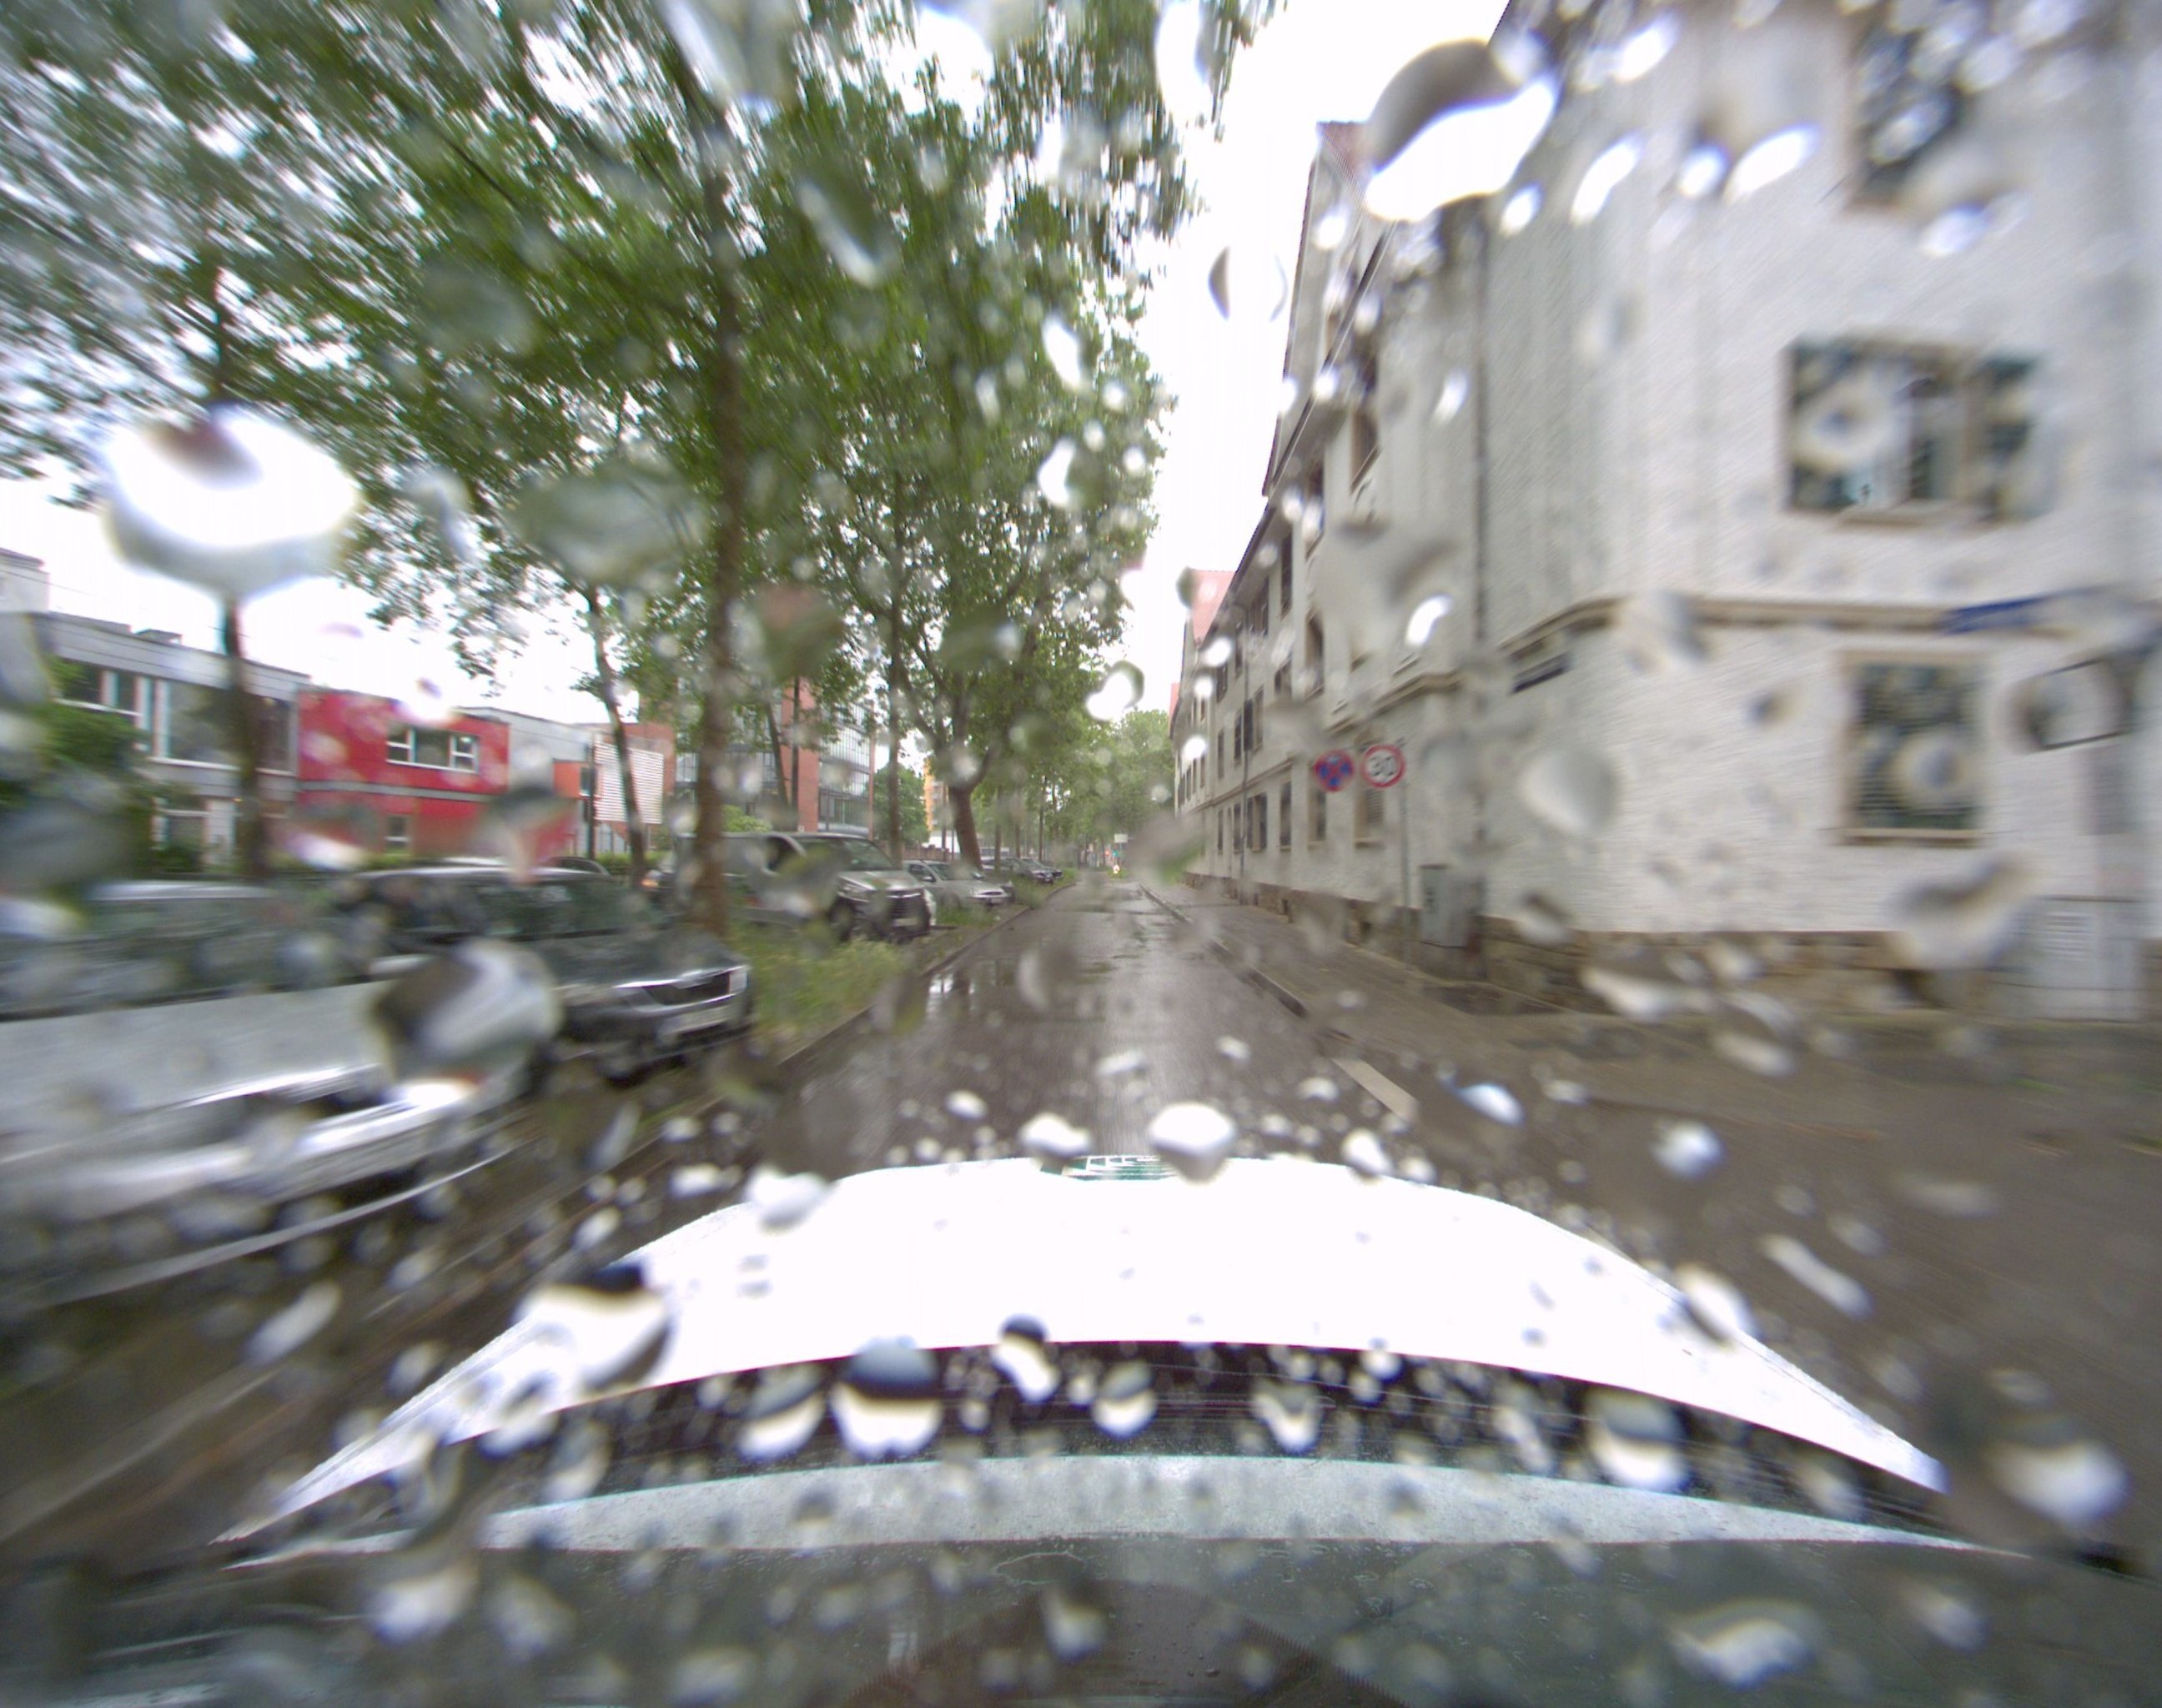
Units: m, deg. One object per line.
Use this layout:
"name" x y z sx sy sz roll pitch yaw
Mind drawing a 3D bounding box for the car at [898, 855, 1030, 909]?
"car" -3.596 0.847 24.842 3.768 1.521 1.733 -1 -2 32

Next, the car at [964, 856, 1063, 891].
"car" -3.282 0.932 39.634 4.416 1.597 1.934 1 -1 28

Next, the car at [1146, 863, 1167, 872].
"car" 15.358 2.805 165.935 4.020 1.597 1.976 4 -3 -41

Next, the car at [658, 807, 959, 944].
"car" -4.740 0.368 13.937 5.065 1.978 2.116 -1 -2 32

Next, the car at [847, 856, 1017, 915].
"car" -4.113 0.836 22.212 4.502 1.482 1.786 -1 -2 31

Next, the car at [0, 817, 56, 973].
"car" -11.698 0.375 6.290 1.983 1.520 4.244 0 -1 6

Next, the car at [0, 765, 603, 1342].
"car" -4.315 0.492 3.610 4.019 1.499 1.757 1 -1 25

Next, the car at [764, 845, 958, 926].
"car" -4.514 0.623 16.612 3.737 1.482 1.733 -1 -2 32

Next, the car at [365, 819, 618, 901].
"car" -11.580 0.133 16.470 1.987 1.420 4.270 0 -1 -1

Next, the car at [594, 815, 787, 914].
"car" -9.050 0.285 19.519 1.986 2.014 5.030 2 -2 2

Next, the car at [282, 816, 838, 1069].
"car" -4.169 0.475 6.403 4.262 1.437 1.758 1 -1 28

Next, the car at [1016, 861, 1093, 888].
"car" -1.647 1.268 50.099 4.308 1.512 1.973 -1 0 33
